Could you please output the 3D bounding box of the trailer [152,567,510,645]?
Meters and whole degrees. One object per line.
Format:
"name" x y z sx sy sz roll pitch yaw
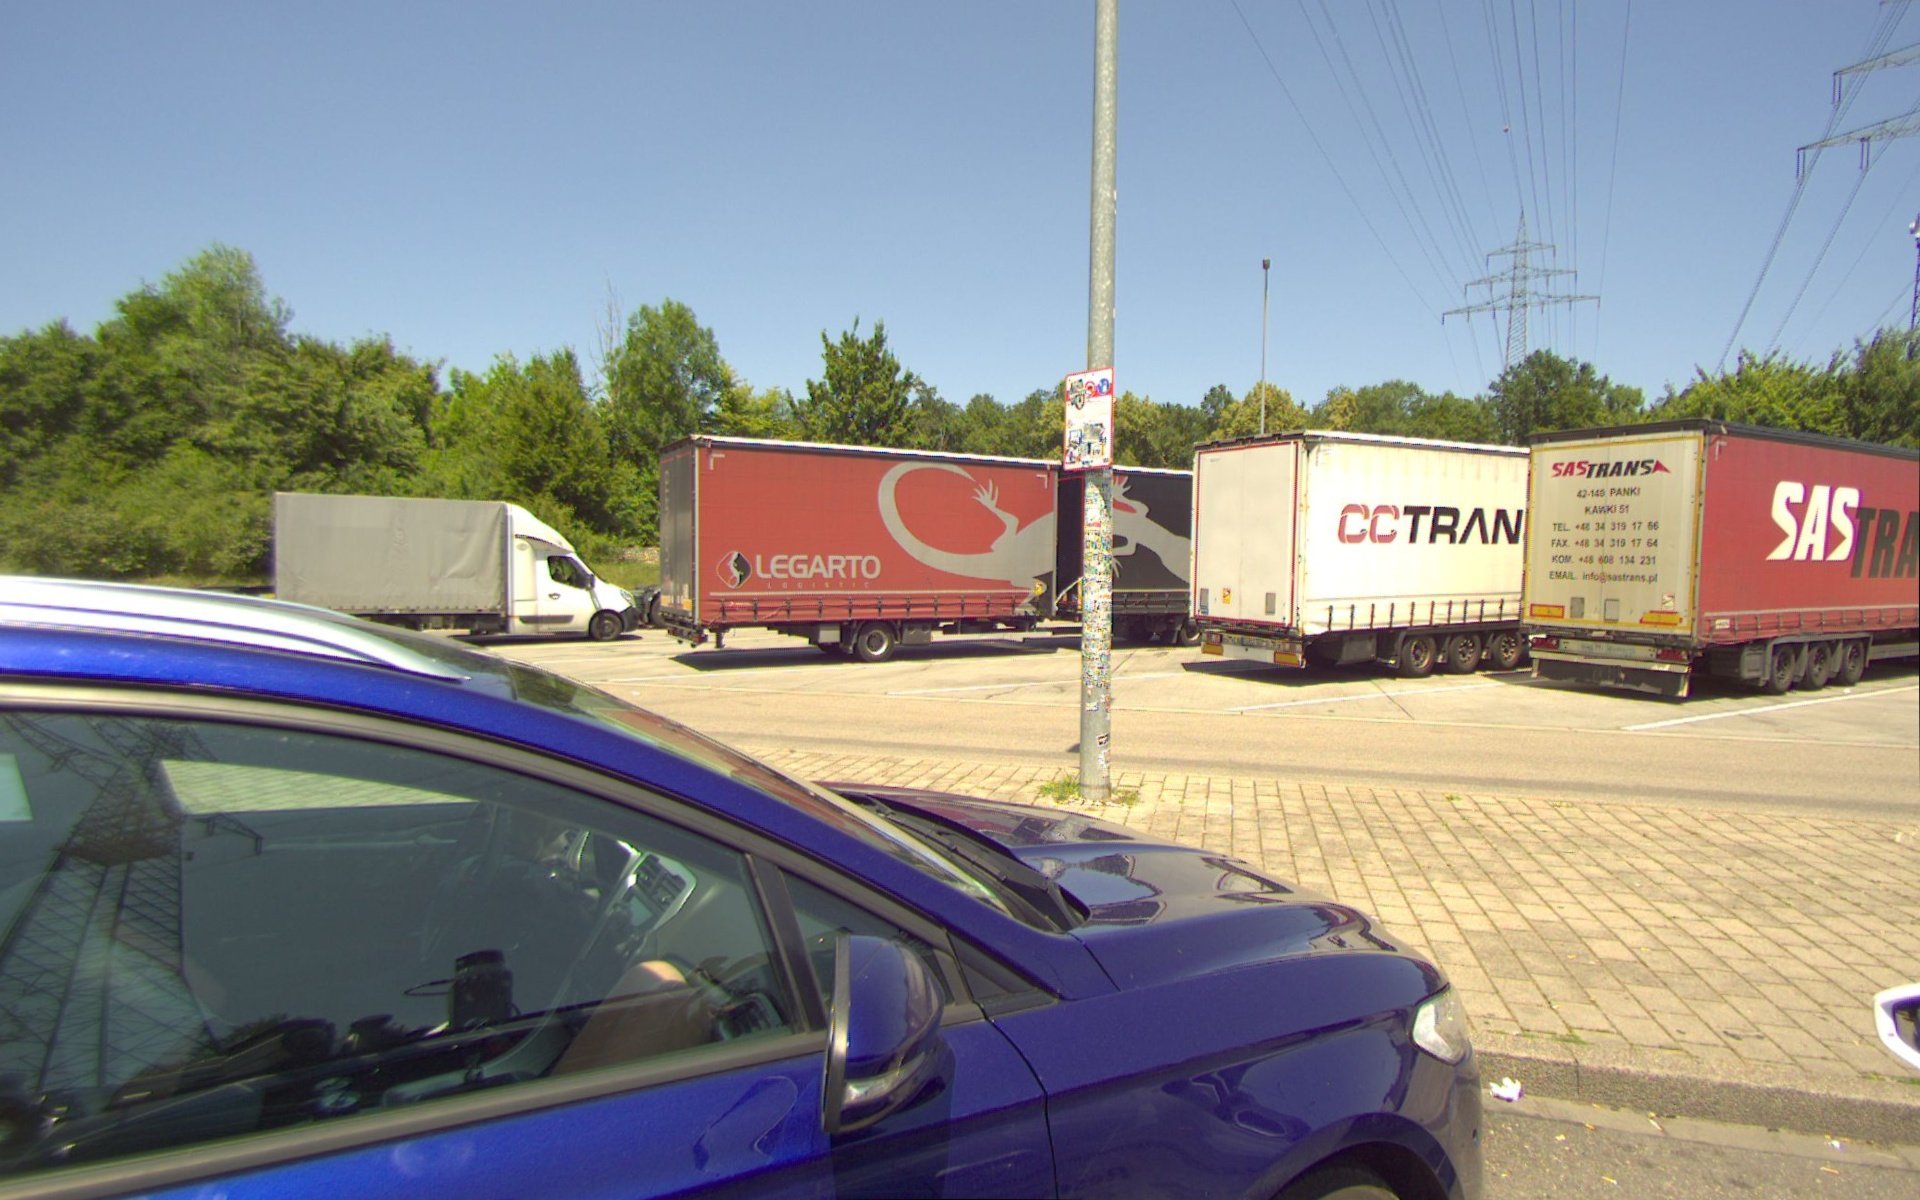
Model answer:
"trailer" -15.171 0.055 24.890 7.204 1.711 2.249 -1 3 -29

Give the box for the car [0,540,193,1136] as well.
"car" -4.617 0.595 2.223 4.444 1.520 1.762 0 2 -32

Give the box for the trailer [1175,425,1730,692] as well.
"trailer" 10.581 -0.801 20.335 13.962 4.141 2.782 -1 3 -30

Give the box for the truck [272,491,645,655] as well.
"truck" -11.196 -0.626 23.021 7.204 3.279 2.727 -1 3 -29

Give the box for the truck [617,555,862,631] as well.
"truck" -6.354 -0.230 29.271 6.733 2.041 1.987 -1 1 -26

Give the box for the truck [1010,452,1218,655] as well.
"truck" 3.563 -1.067 23.448 3.947 4.298 2.723 -1 3 -30

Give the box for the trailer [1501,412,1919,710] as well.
"trailer" 15.601 -0.693 18.724 13.962 4.141 2.777 -1 3 -30

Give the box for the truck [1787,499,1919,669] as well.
"truck" 21.203 -0.393 22.002 5.829 3.373 2.837 -1 3 -30

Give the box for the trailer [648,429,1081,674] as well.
"trailer" -1.749 -0.902 20.326 8.376 4.141 2.722 -1 3 -30

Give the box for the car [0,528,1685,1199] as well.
"car" -1.041 0.673 1.491 4.444 1.511 1.859 0 2 -32
